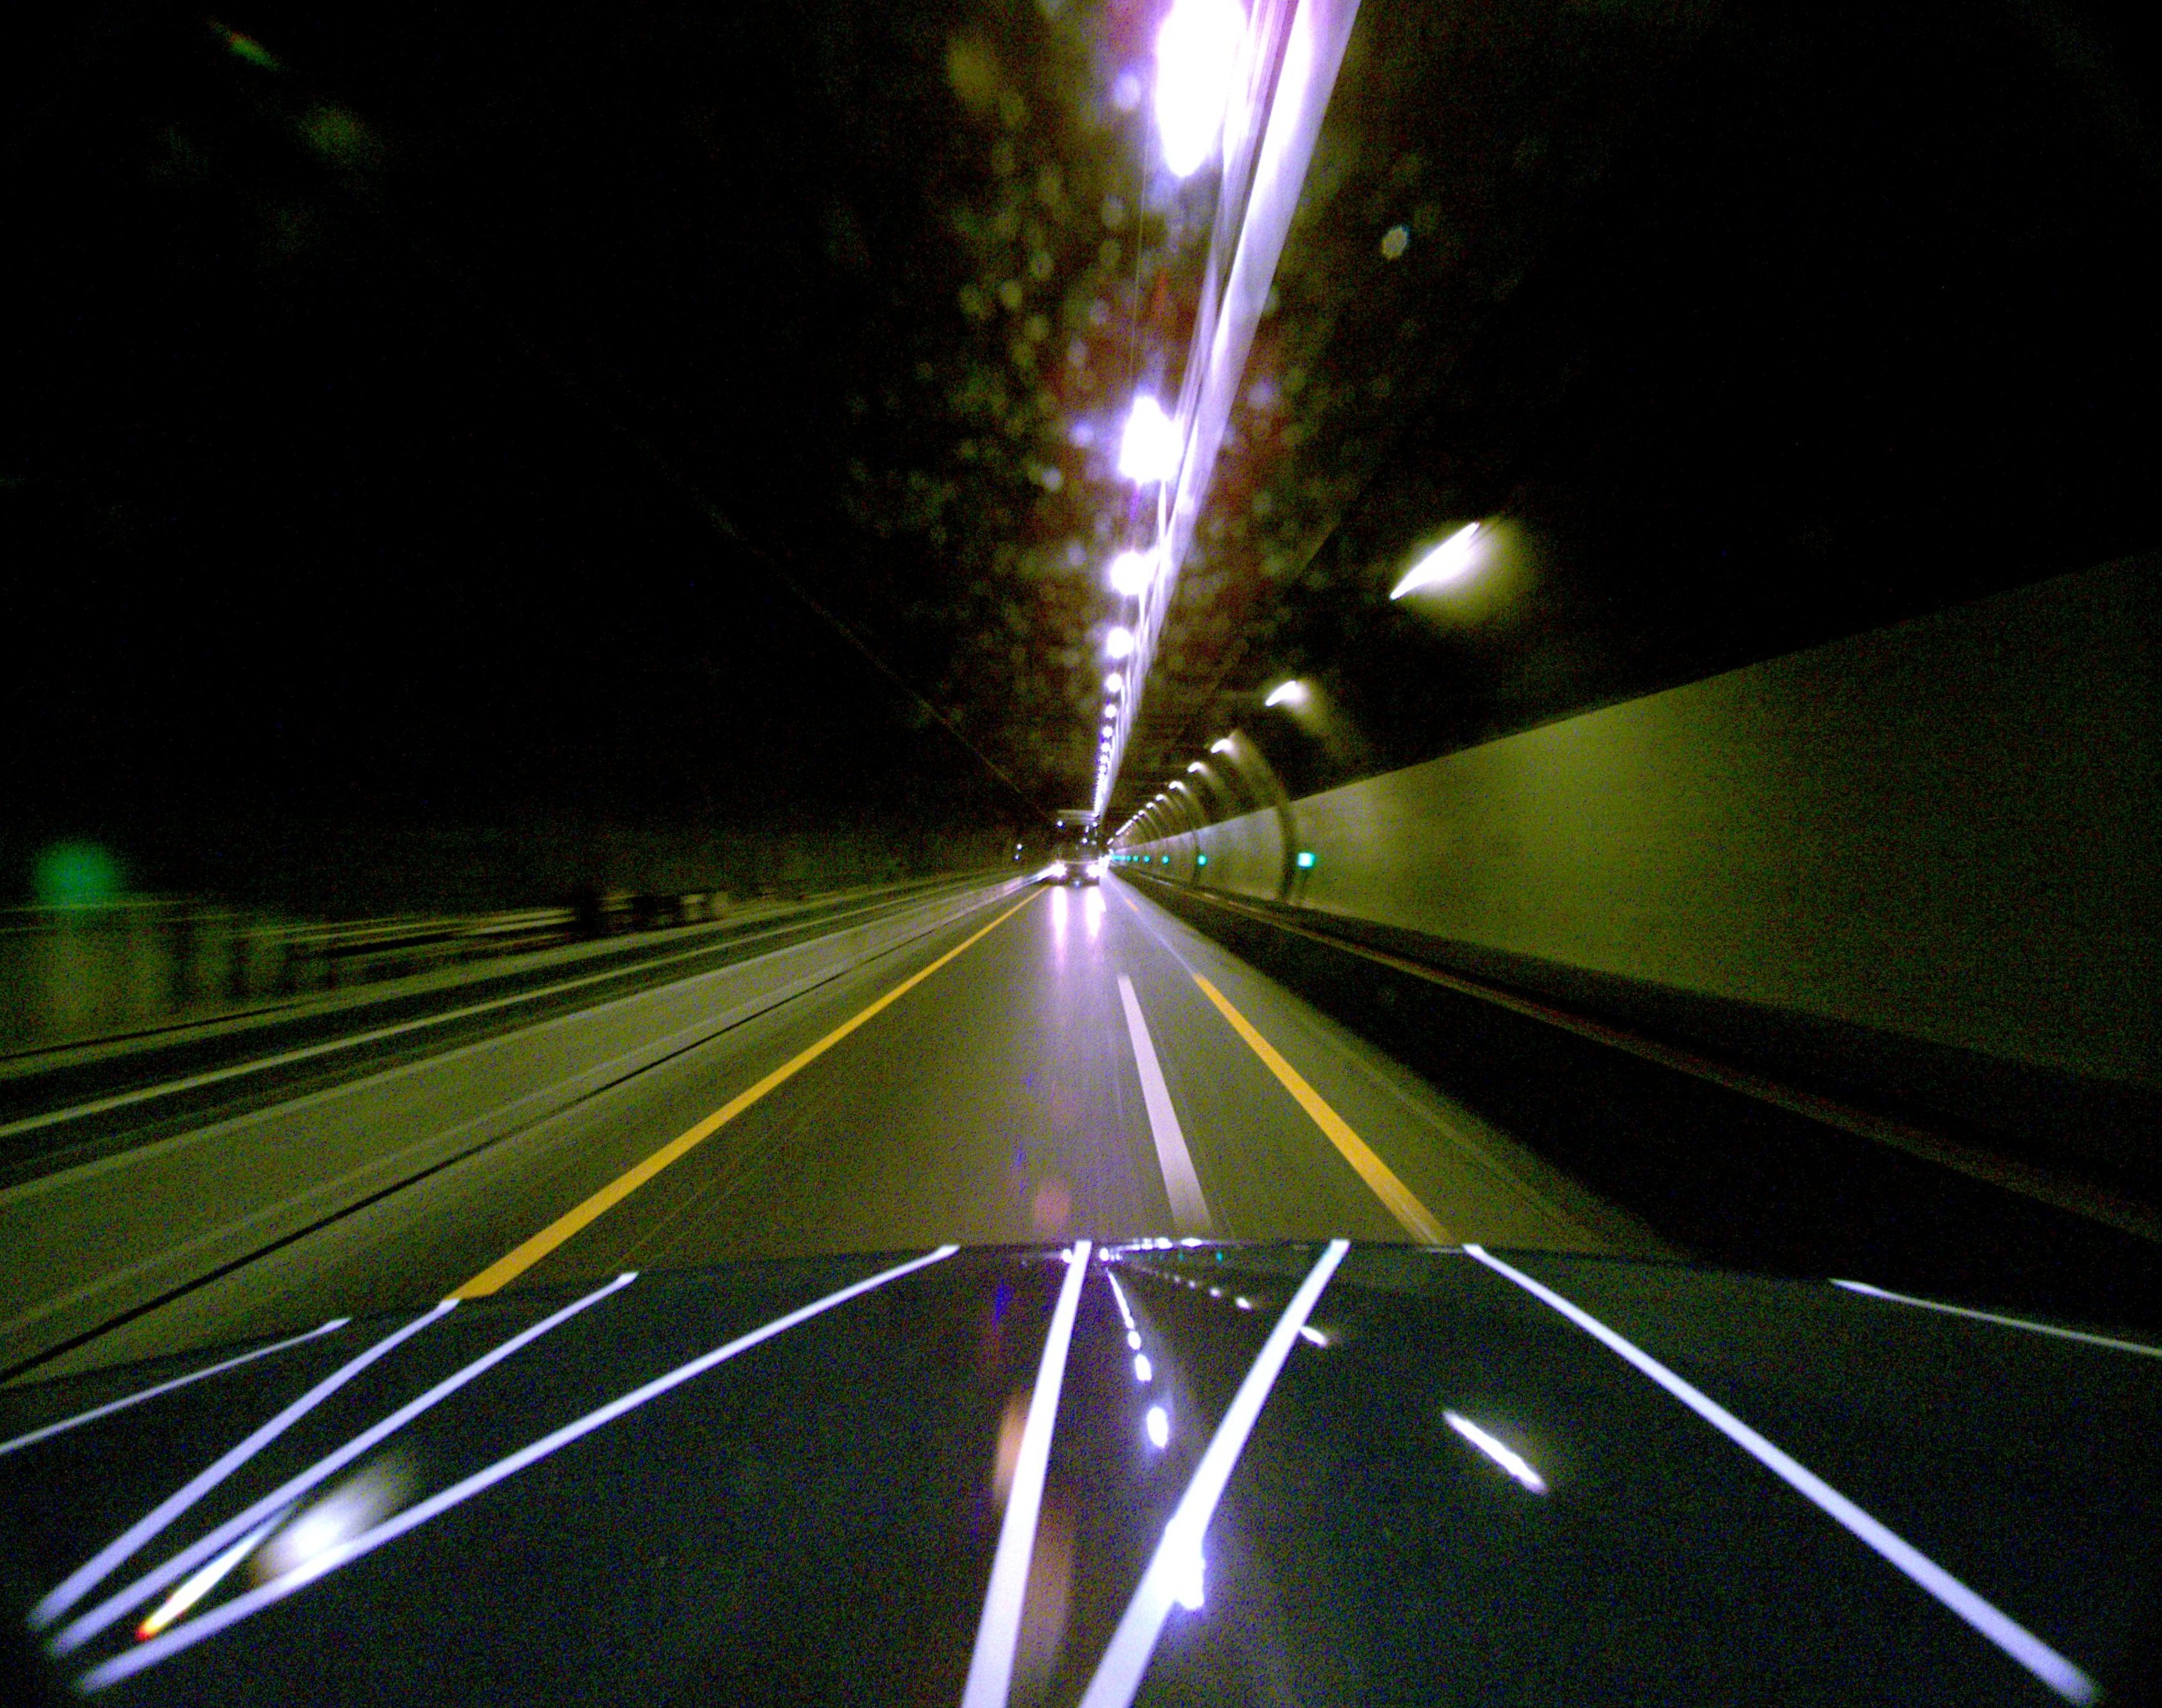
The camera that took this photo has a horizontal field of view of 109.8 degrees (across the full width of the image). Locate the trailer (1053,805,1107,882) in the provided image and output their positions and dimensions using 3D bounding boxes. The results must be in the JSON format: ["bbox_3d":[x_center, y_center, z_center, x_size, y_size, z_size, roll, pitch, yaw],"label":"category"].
[{"bbox_3d":[0.075,-0.643,48.845,2.939,4.316,10.052,-2,1,1],"label":"trailer"}]

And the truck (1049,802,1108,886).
[{"bbox_3d":[-0.062,-0.569,43.483,2.950,4.338,6.675,-2,1,1],"label":"truck"}]
